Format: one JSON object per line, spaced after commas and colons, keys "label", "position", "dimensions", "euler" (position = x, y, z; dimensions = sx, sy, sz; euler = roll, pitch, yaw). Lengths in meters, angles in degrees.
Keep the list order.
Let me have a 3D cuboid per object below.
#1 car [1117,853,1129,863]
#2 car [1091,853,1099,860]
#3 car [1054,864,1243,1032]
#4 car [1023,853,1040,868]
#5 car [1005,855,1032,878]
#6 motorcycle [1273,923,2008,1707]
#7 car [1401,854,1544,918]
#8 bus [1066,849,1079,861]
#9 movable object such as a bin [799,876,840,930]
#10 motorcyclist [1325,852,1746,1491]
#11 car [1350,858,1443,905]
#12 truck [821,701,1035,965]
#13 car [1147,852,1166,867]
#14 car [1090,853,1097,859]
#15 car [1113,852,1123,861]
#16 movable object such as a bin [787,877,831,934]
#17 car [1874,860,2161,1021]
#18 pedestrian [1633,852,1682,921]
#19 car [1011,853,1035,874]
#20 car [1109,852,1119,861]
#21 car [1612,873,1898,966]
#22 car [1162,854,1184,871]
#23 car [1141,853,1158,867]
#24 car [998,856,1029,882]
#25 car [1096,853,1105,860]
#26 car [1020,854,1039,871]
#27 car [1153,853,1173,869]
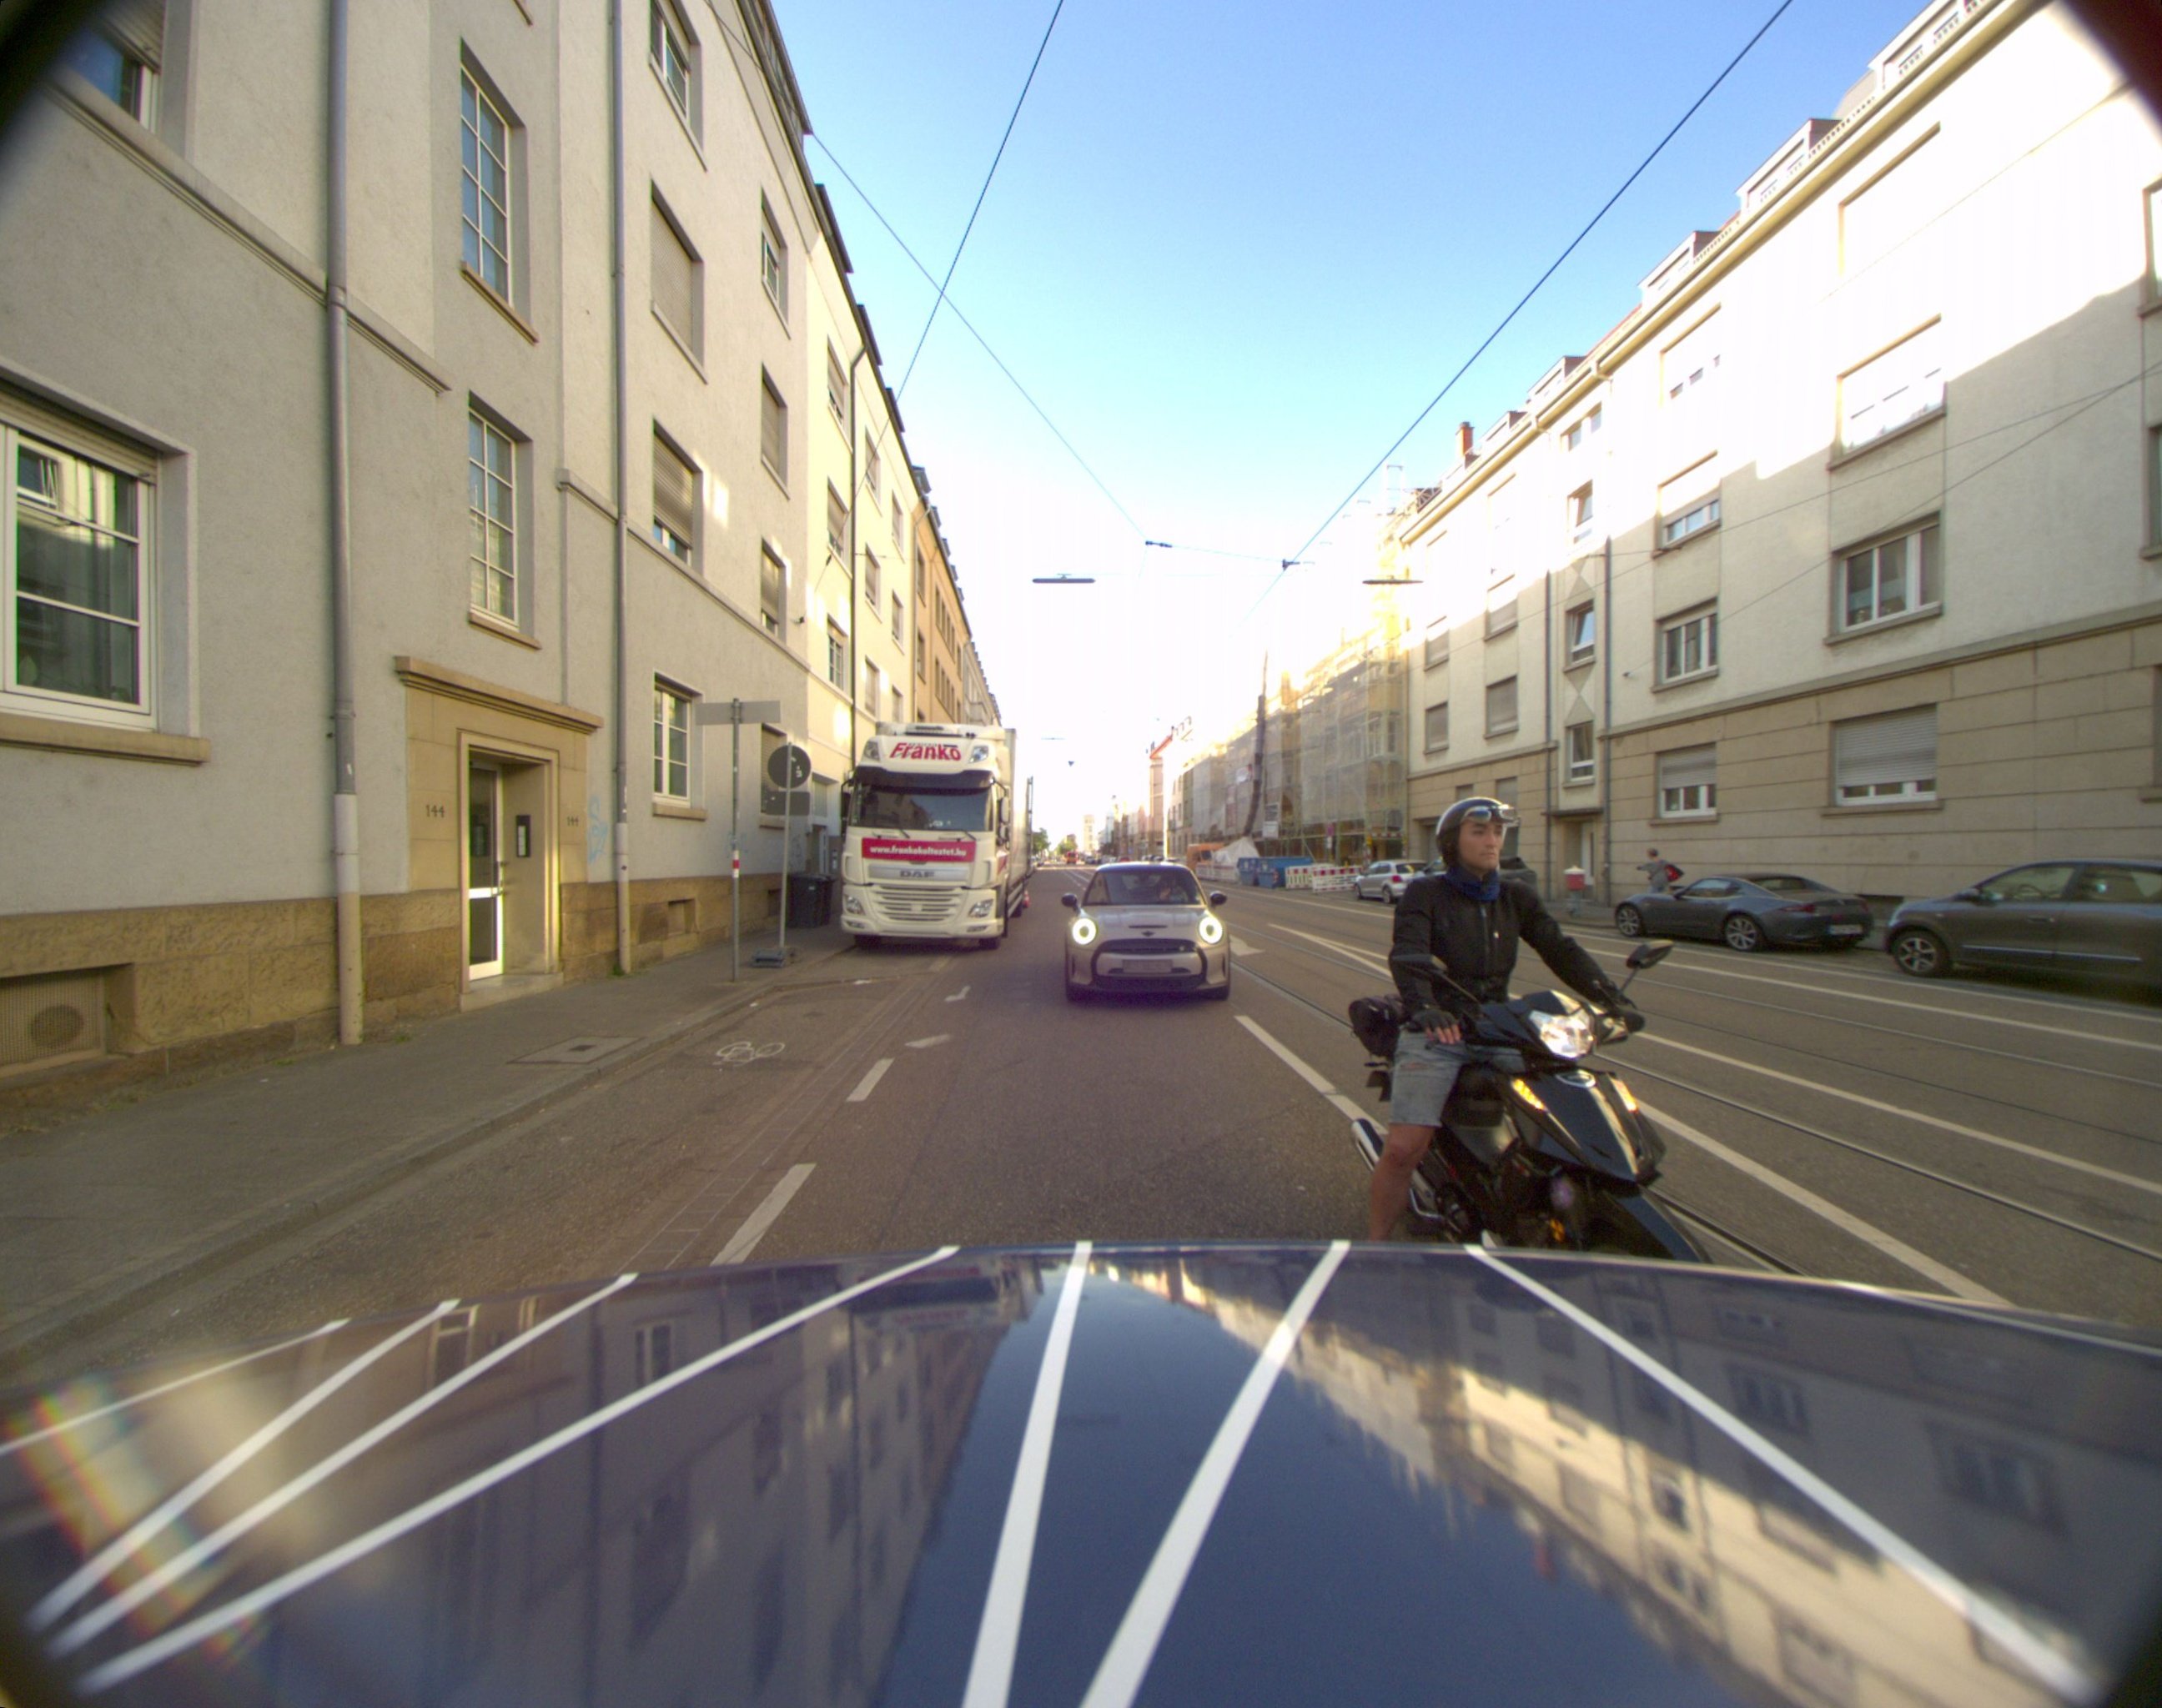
{"label": "car", "position": [6.603, 0.626, 118.643], "dimensions": [1.684, 1.478, 3.966], "euler": [-2, 0, 1]}
{"label": "car", "position": [3.544, 0.612, 191.754], "dimensions": [1.684, 1.478, 3.965], "euler": [-2, 0, -1]}
{"label": "car", "position": [0.558, 0.896, 9.135], "dimensions": [1.685, 1.454, 4.148], "euler": [-2, 0, -3]}
{"label": "car", "position": [-5.348, 0.651, 82.752], "dimensions": [1.685, 1.522, 4.148], "euler": [-2, 0, -3]}
{"label": "car", "position": [-4.302, 0.831, 52.998], "dimensions": [1.685, 1.522, 4.148], "euler": [-2, 0, -3]}
{"label": "motorcycle", "position": [1.307, 0.975, 2.528], "dimensions": [0.791, 1.284, 2.273], "euler": [0, 0, 1]}
{"label": "car", "position": [10.810, 0.807, 21.338], "dimensions": [1.696, 1.590, 4.206], "euler": [-1, 0, -3]}
{"label": "bus", "position": [-2.486, 0.319, 212.664], "dimensions": [2.755, 3.095, 19.156], "euler": [0, 0, -3]}
{"label": "movable object such as a bin", "position": [-5.401, 1.000, 15.717], "dimensions": [0.666, 1.087, 0.570], "euler": [0, 1, -2]}
{"label": "motorcyclist", "position": [1.307, 0.818, 2.398], "dimensions": [0.791, 1.645, 0.900], "euler": [0, 1, 1]}
{"label": "car", "position": [10.609, 0.883, 25.787], "dimensions": [1.543, 1.404, 3.510], "euler": [-1, 0, -3]}
{"label": "truck", "position": [-2.627, -0.319, 17.189], "dimensions": [2.782, 3.903, 11.816], "euler": [0, 0, -2]}
{"label": "car", "position": [8.247, 0.619, 83.191], "dimensions": [1.684, 1.573, 3.966], "euler": [-2, 0, 1]}
{"label": "car", "position": [3.319, 0.592, 206.898], "dimensions": [1.684, 1.478, 3.965], "euler": [-2, 0, -1]}
{"label": "car", "position": [6.536, 0.468, 134.409], "dimensions": [1.684, 1.478, 3.966], "euler": [-2, 0, 1]}
{"label": "movable object such as a bin", "position": [-5.384, 1.008, 15.048], "dimensions": [0.666, 1.087, 0.570], "euler": [0, 1, -2]}
{"label": "car", "position": [11.415, 0.862, 8.327], "dimensions": [1.679, 1.519, 3.539], "euler": [-1, 0, -3]}
{"label": "pedestrian", "position": [13.052, 0.726, 17.204], "dimensions": [0.570, 1.532, 0.693], "euler": [0, 1, -2]}
{"label": "car", "position": [-4.510, 0.748, 59.166], "dimensions": [1.685, 1.522, 4.148], "euler": [-2, 0, -3]}
{"label": "car", "position": [5.963, 0.447, 139.352], "dimensions": [1.684, 1.478, 3.966], "euler": [-2, 0, 1]}
{"label": "car", "position": [11.178, 1.002, 12.989], "dimensions": [1.520, 1.227, 3.685], "euler": [-1, 0, -3]}
{"label": "car", "position": [8.573, 0.763, 71.120], "dimensions": [1.684, 1.478, 3.966], "euler": [-2, 0, 1]}
{"label": "car", "position": [7.936, 0.656, 87.887], "dimensions": [1.684, 1.478, 3.966], "euler": [-2, 0, 1]}
{"label": "car", "position": [-4.175, 0.898, 47.196], "dimensions": [1.685, 1.522, 4.148], "euler": [-2, 0, -3]}
{"label": "car", "position": [4.265, 0.620, 167.820], "dimensions": [1.684, 1.478, 3.965], "euler": [-2, 0, -1]}
{"label": "car", "position": [-4.855, 0.751, 72.106], "dimensions": [1.685, 1.522, 4.148], "euler": [-2, 0, -3]}
{"label": "car", "position": [8.268, 0.708, 76.817], "dimensions": [1.684, 1.478, 3.966], "euler": [-2, 0, 1]}
